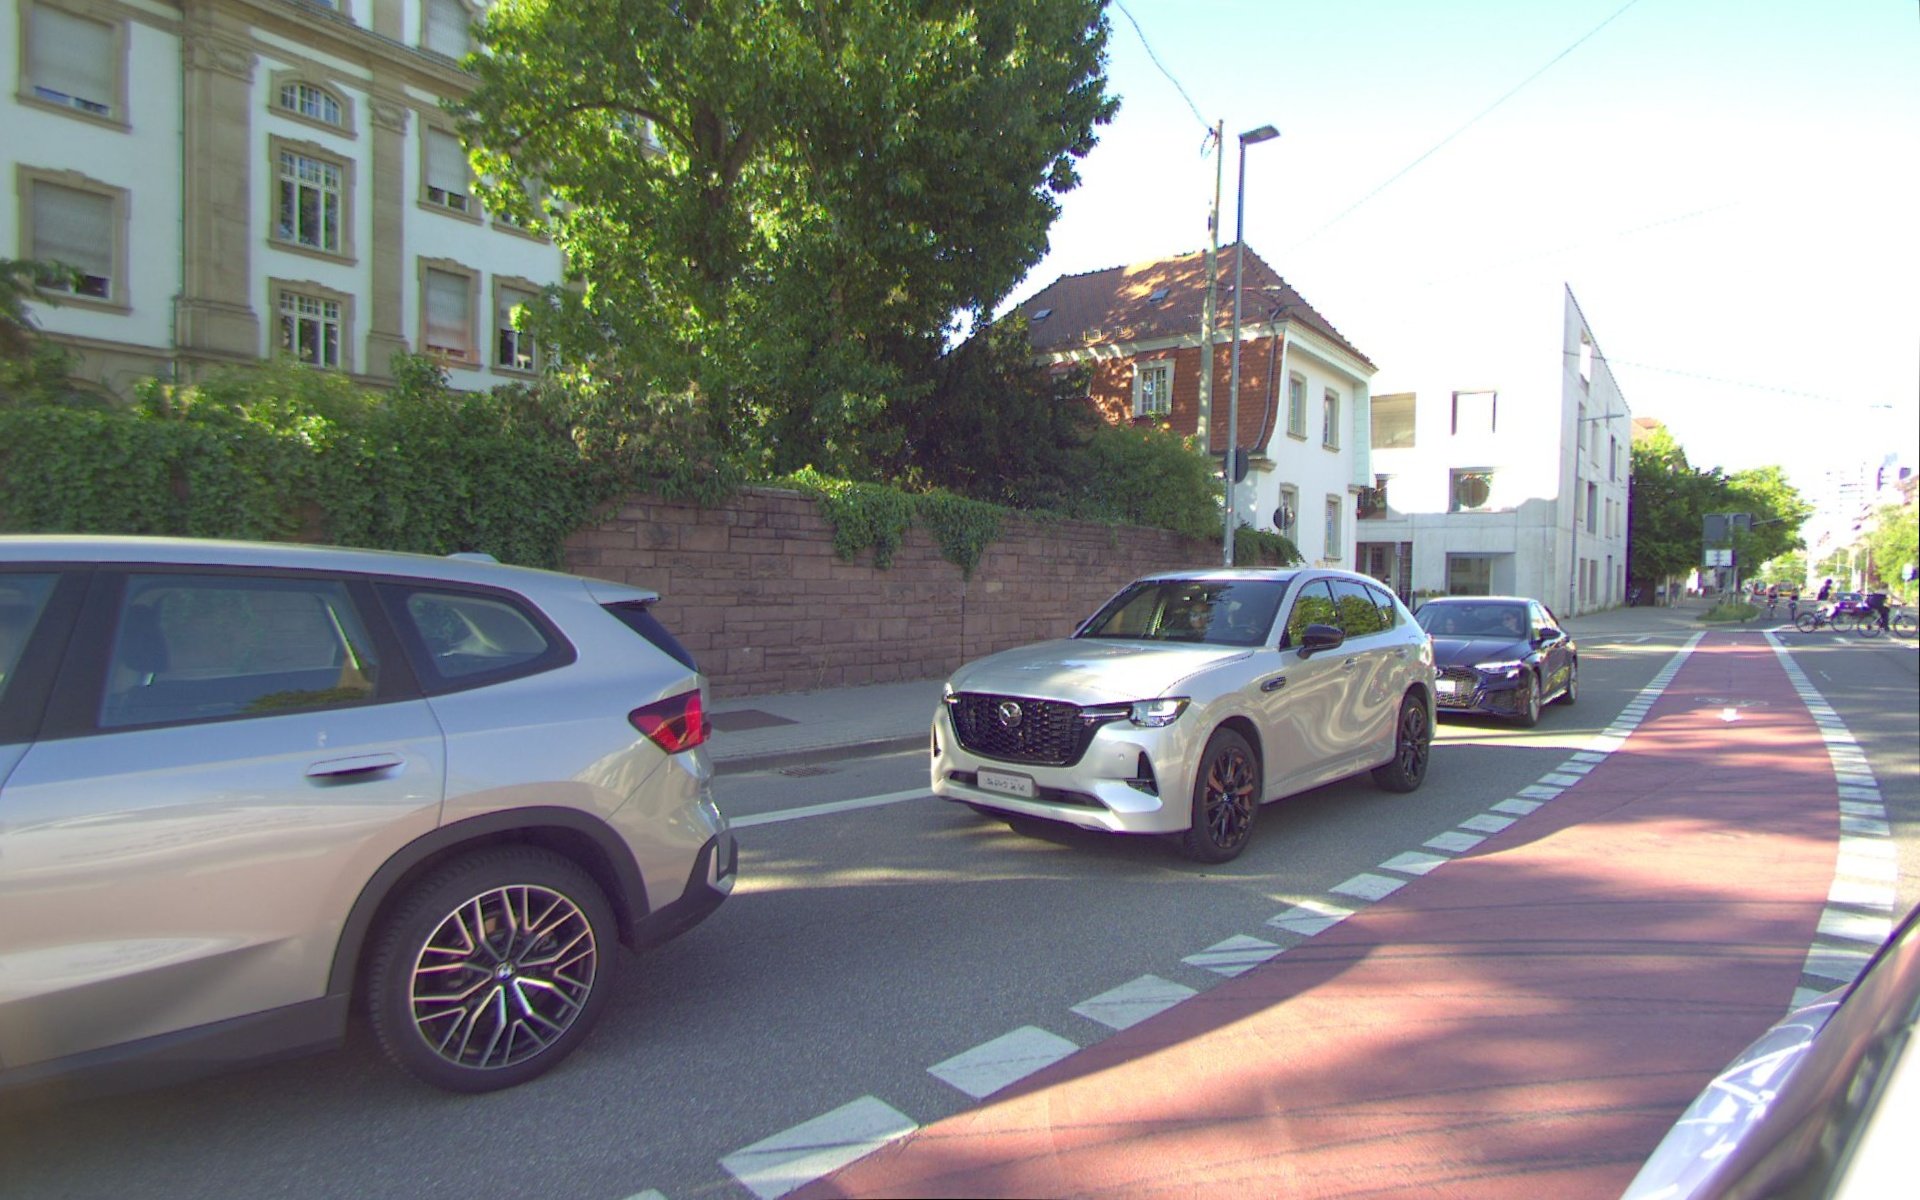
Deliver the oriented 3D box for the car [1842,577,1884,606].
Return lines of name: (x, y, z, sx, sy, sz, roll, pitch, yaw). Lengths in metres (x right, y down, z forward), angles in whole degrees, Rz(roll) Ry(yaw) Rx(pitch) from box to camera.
car: (50.257, -0.468, 56.319, 1.644, 1.580, 3.593, 0, 0, 44)

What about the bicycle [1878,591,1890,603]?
bicycle: (96.442, -0.351, 105.652, 2.414, 1.266, 0.675, 0, 1, -42)

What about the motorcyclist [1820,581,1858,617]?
motorcyclist: (31.585, -0.048, 36.365, 0.845, 1.266, 0.670, 2, 2, 26)

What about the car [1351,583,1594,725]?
car: (6.412, 0.526, 12.437, 1.782, 1.451, 3.941, 0, 1, 41)

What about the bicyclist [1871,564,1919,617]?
bicyclist: (30.072, -0.318, 32.437, 1.013, 1.667, 0.673, 1, 1, 12)

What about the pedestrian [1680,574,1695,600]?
pedestrian: (46.245, -0.824, 64.334, 0.673, 1.668, 0.806, 1, 1, 40)

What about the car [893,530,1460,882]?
car: (1.810, 0.491, 7.227, 1.940, 1.713, 4.460, 0, 1, 44)

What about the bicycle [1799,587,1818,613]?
bicycle: (43.100, 0.002, 51.410, 0.673, 1.265, 2.421, 2, 2, 40)

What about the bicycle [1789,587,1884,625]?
bicycle: (31.494, 0.189, 36.412, 2.432, 1.266, 0.670, 2, 2, 26)

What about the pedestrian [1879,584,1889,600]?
pedestrian: (96.409, -0.805, 105.614, 0.803, 1.668, 0.675, 0, 1, -41)

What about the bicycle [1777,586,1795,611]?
bicycle: (42.848, -0.093, 52.498, 0.673, 1.265, 2.421, 2, 2, 40)

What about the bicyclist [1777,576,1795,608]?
bicyclist: (42.789, -0.422, 52.410, 0.673, 1.667, 1.014, 2, 2, 40)

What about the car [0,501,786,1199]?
car: (-2.832, 0.577, 2.956, 4.248, 1.614, 1.792, 0, 0, -36)

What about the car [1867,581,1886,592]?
car: (130.654, -1.891, 144.274, 1.640, 1.580, 3.602, 0, 0, 36)

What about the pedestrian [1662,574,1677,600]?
pedestrian: (45.477, -0.836, 64.859, 0.673, 1.668, 0.806, 1, 1, 40)

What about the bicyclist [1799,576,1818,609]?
bicyclist: (43.113, -0.387, 51.409, 0.673, 1.667, 1.014, 2, 2, 40)

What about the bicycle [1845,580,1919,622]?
bicycle: (30.044, 0.039, 32.448, 2.419, 1.266, 0.674, 2, 1, 13)
